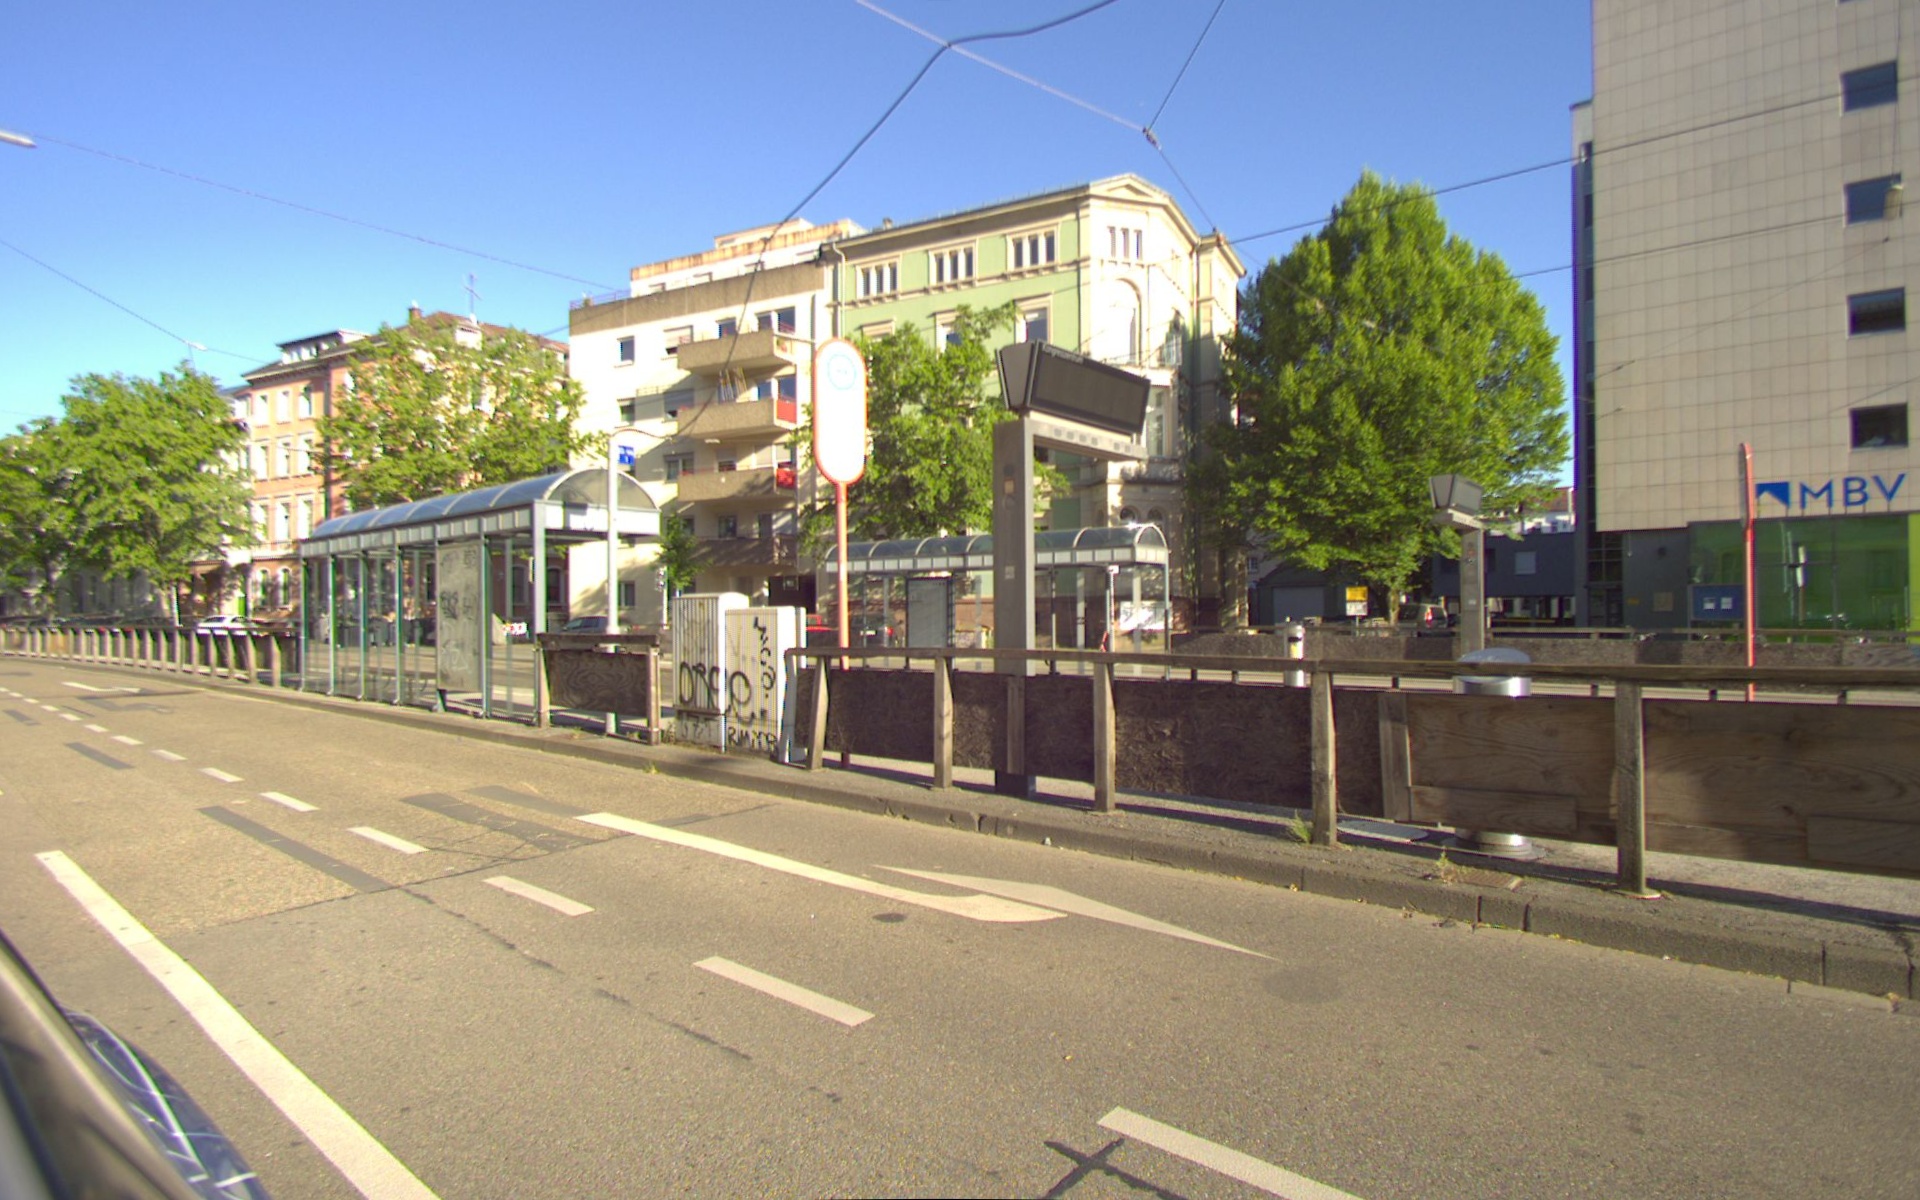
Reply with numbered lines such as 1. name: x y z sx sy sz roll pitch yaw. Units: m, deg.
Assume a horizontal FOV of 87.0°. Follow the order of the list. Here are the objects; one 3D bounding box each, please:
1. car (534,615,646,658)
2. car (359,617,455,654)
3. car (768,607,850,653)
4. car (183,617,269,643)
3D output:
1. car: -14.141 1.384 38.651 3.987 1.542 1.978 -1 -3 32
2. car: -23.883 1.508 43.680 3.987 1.541 1.978 -1 -2 32
3. car: -6.852 1.359 46.333 1.791 2.029 3.963 -1 -1 27
4. car: -39.217 1.578 54.164 1.565 1.360 3.631 0 -1 11
